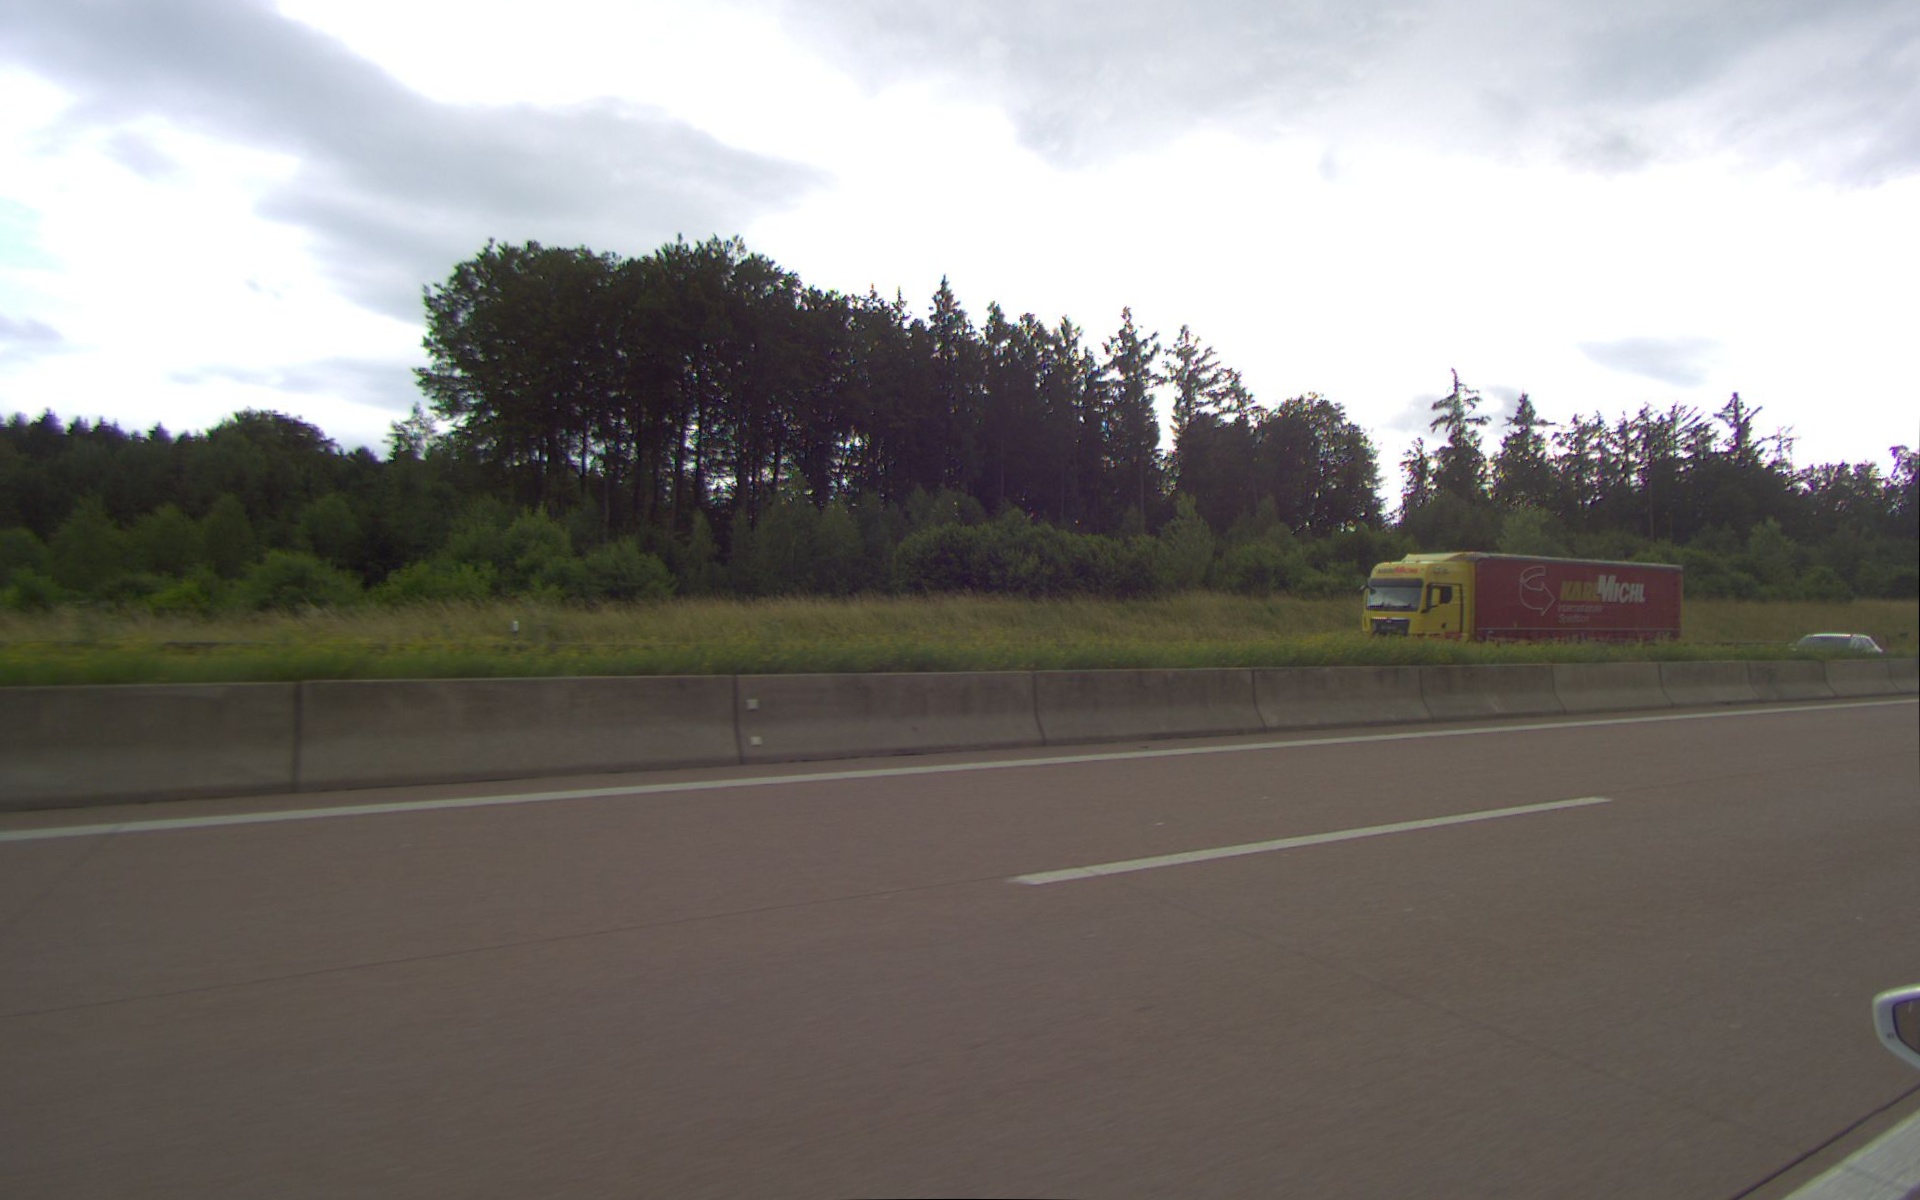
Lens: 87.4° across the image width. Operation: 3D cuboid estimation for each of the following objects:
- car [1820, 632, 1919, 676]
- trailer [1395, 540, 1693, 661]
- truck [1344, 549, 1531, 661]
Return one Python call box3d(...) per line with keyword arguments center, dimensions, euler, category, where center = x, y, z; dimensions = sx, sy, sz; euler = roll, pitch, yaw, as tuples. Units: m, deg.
box3d(center=(32.075, 1.869, 35.237), dimensions=(3.984, 1.421, 1.732), euler=(2, -1, -30), category="car")
box3d(center=(22.873, 0.148, 38.800), dimensions=(14.353, 4.095, 3.020), euler=(1, 0, -29), category="trailer")
box3d(center=(16.845, 0.242, 35.429), dimensions=(5.984, 3.630, 2.999), euler=(2, 0, -29), category="truck")
